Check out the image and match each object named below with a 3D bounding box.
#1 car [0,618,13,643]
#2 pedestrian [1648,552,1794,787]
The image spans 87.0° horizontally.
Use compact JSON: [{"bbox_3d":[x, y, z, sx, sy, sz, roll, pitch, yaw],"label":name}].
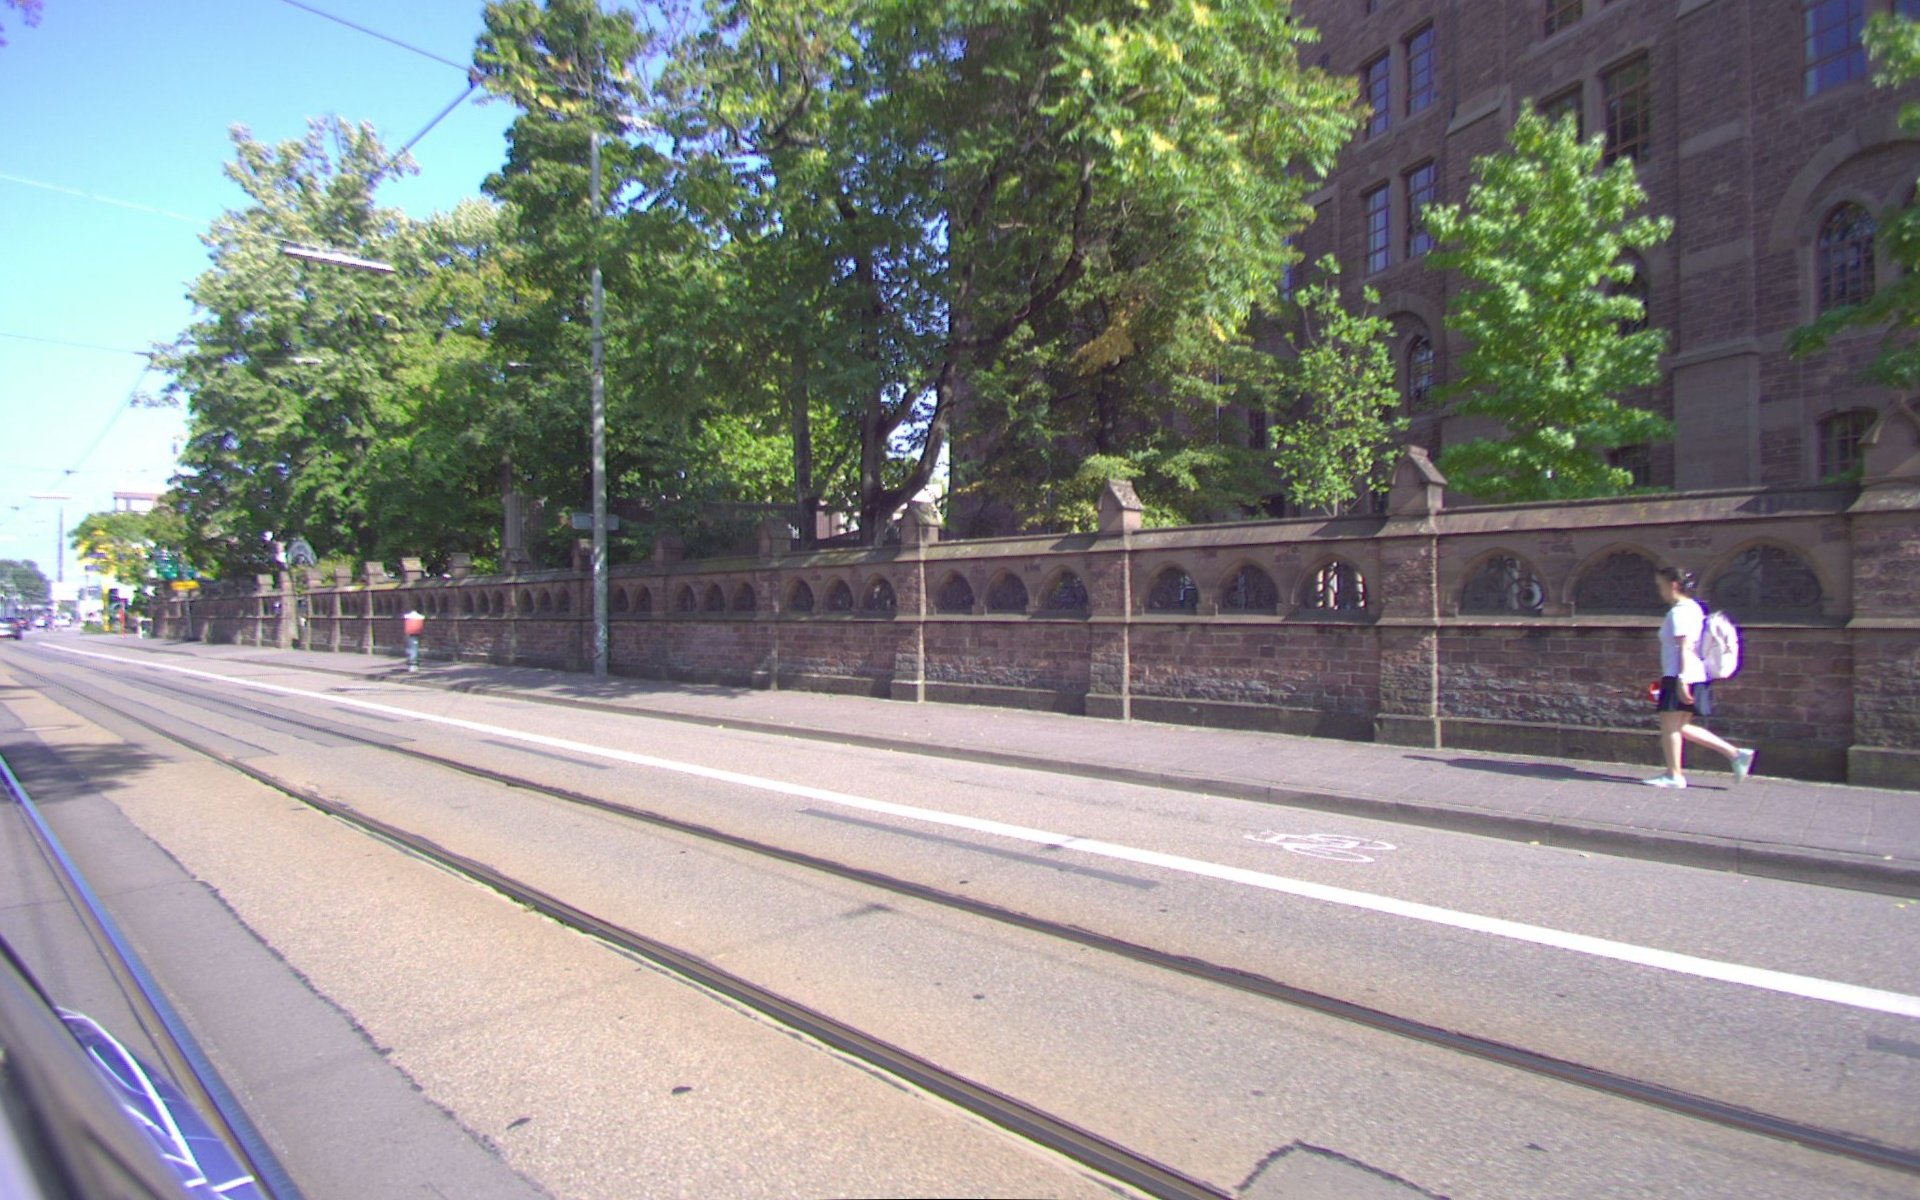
[{"bbox_3d":[-58.548,1.850,61.187,4.001,1.453,1.672,-1,-1,44],"label":"car"},{"bbox_3d":[5.571,0.475,7.410,0.775,1.601,0.707,-1,-1,43],"label":"pedestrian"}]
